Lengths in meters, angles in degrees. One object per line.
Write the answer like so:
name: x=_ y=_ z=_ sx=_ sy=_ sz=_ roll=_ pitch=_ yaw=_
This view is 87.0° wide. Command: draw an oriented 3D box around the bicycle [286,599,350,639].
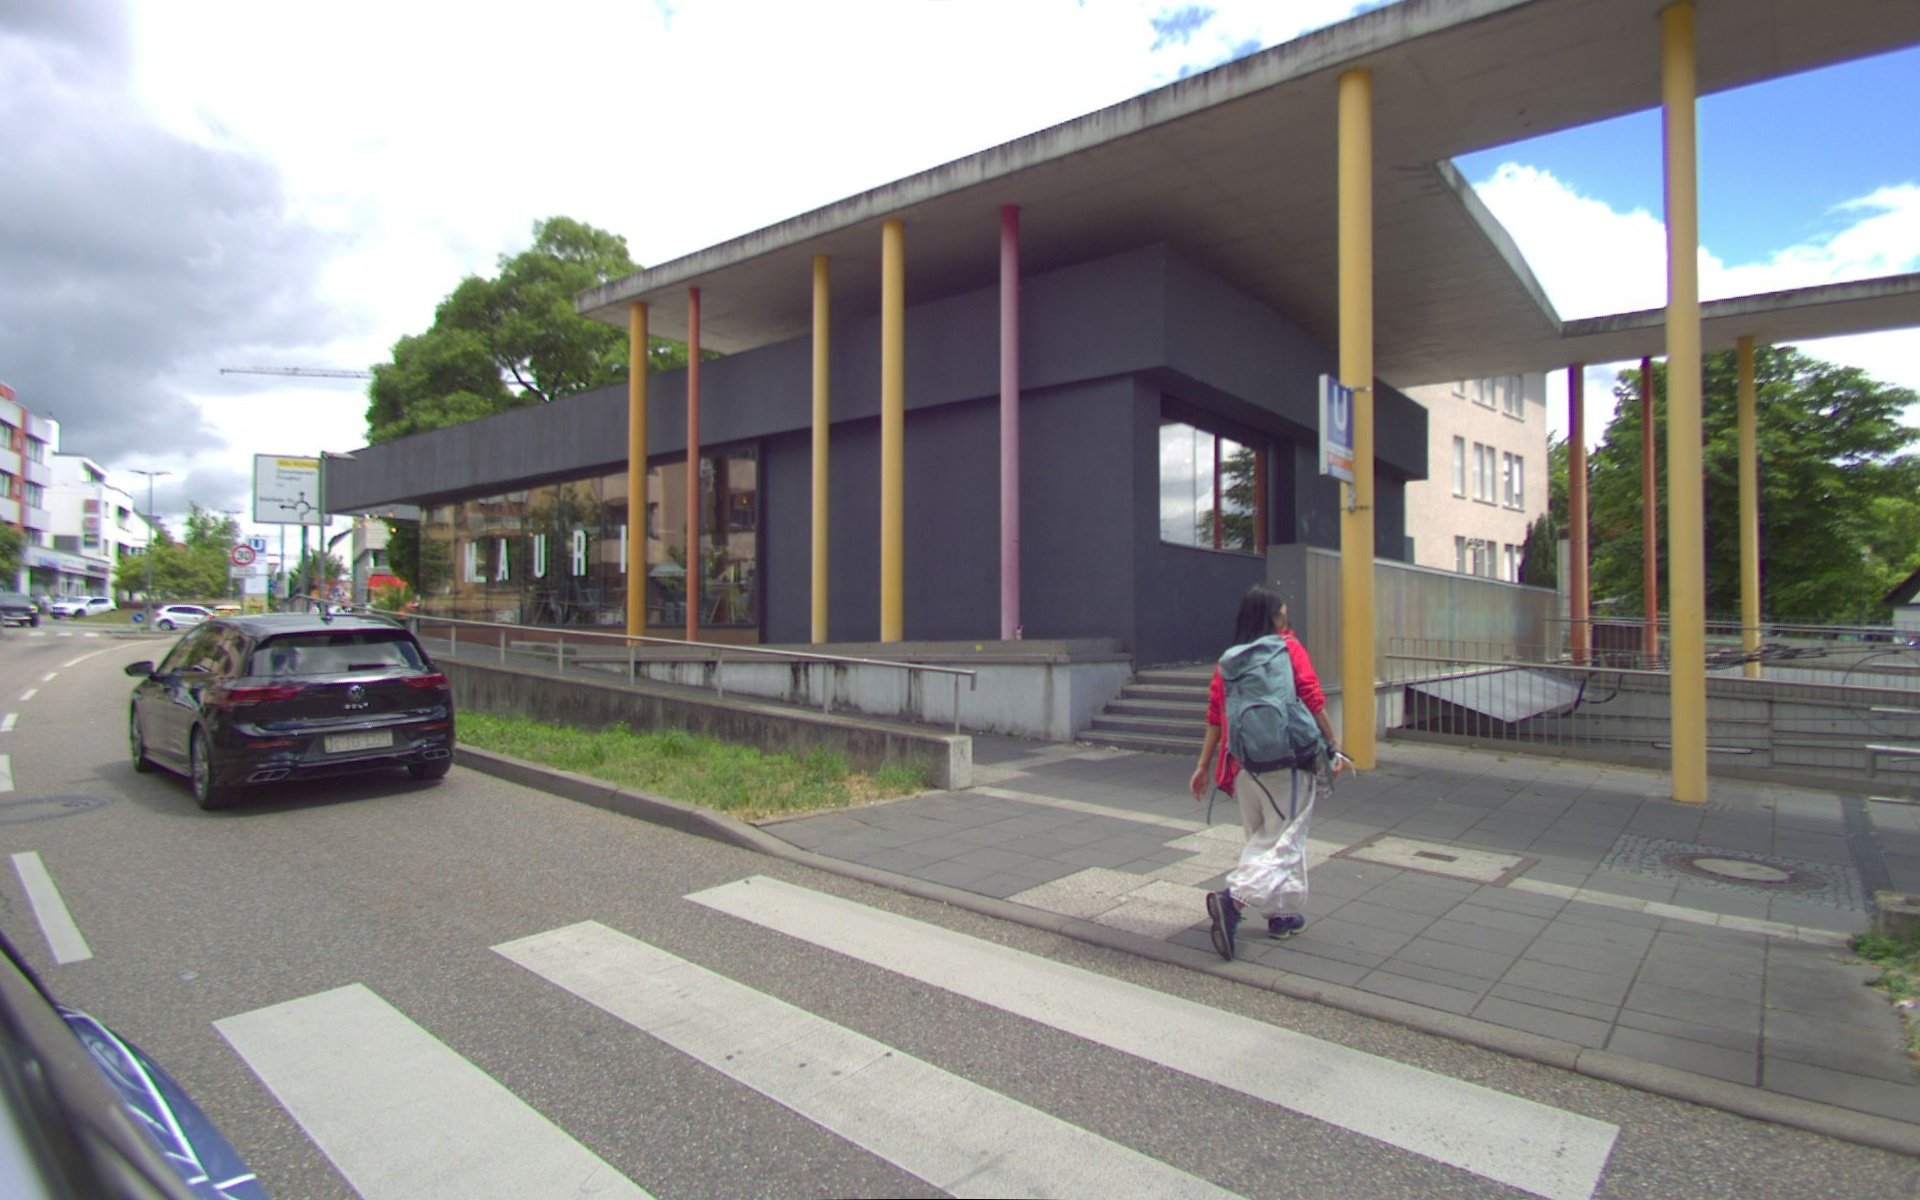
bicycle: x=-19.043 y=0.566 z=30.017 sx=1.526 sy=1.136 sz=0.534 roll=2 pitch=-2 yaw=-38

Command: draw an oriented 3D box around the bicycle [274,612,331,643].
bicycle: x=-23.981 y=1.013 z=36.904 sx=1.665 sy=1.090 sz=0.516 roll=2 pitch=-4 yaw=-42

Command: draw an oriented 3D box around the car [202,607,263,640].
car: x=-37.743 y=1.223 z=52.616 sx=1.797 sy=1.597 sz=4.179 roll=3 pitch=-2 yaw=-26

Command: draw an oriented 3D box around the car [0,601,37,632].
car: x=-51.728 y=0.858 z=55.350 sx=1.777 sy=1.592 sz=4.005 roll=0 pitch=0 yaw=-42

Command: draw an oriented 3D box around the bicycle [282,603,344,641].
bicycle: x=-19.936 y=0.693 z=31.198 sx=1.526 sy=1.136 sz=0.534 roll=2 pitch=-2 yaw=-38

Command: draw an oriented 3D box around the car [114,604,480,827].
car: x=-5.921 y=0.800 z=8.811 sx=4.235 sy=1.475 sz=1.752 roll=-1 pitch=-1 yaw=44

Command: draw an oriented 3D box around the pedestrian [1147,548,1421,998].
pedestrian: x=1.351 y=0.604 z=4.165 sx=0.813 sy=1.577 sz=0.919 roll=1 pitch=0 yaw=37

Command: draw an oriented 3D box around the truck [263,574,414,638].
truck: x=-40.652 y=0.349 z=66.825 sx=2.648 sy=3.871 sz=10.833 roll=1 pitch=0 yaw=4

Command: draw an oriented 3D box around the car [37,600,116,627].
car: x=-59.212 y=0.879 z=67.939 sx=1.818 sy=1.675 sz=4.000 roll=1 pitch=0 yaw=0

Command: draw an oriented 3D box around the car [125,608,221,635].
car: x=-44.331 y=1.199 z=57.124 sx=3.983 sy=1.409 sz=1.822 roll=0 pitch=0 yaw=-27

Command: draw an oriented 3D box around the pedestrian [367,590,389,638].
pedestrian: x=-20.092 y=0.495 z=34.926 sx=0.651 sy=1.641 sz=0.802 roll=0 pitch=-2 yaw=-30

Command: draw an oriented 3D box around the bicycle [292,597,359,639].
bicycle: x=-17.786 y=0.517 z=28.378 sx=1.526 sy=1.136 sz=0.534 roll=2 pitch=-2 yaw=-38

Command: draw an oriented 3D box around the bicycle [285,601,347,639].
bicycle: x=-19.435 y=0.614 z=30.557 sx=1.526 sy=1.136 sz=0.534 roll=2 pitch=-2 yaw=-38

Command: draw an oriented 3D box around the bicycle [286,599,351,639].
bicycle: x=-18.565 y=0.565 z=29.293 sx=1.526 sy=1.136 sz=0.534 roll=2 pitch=-2 yaw=-38
